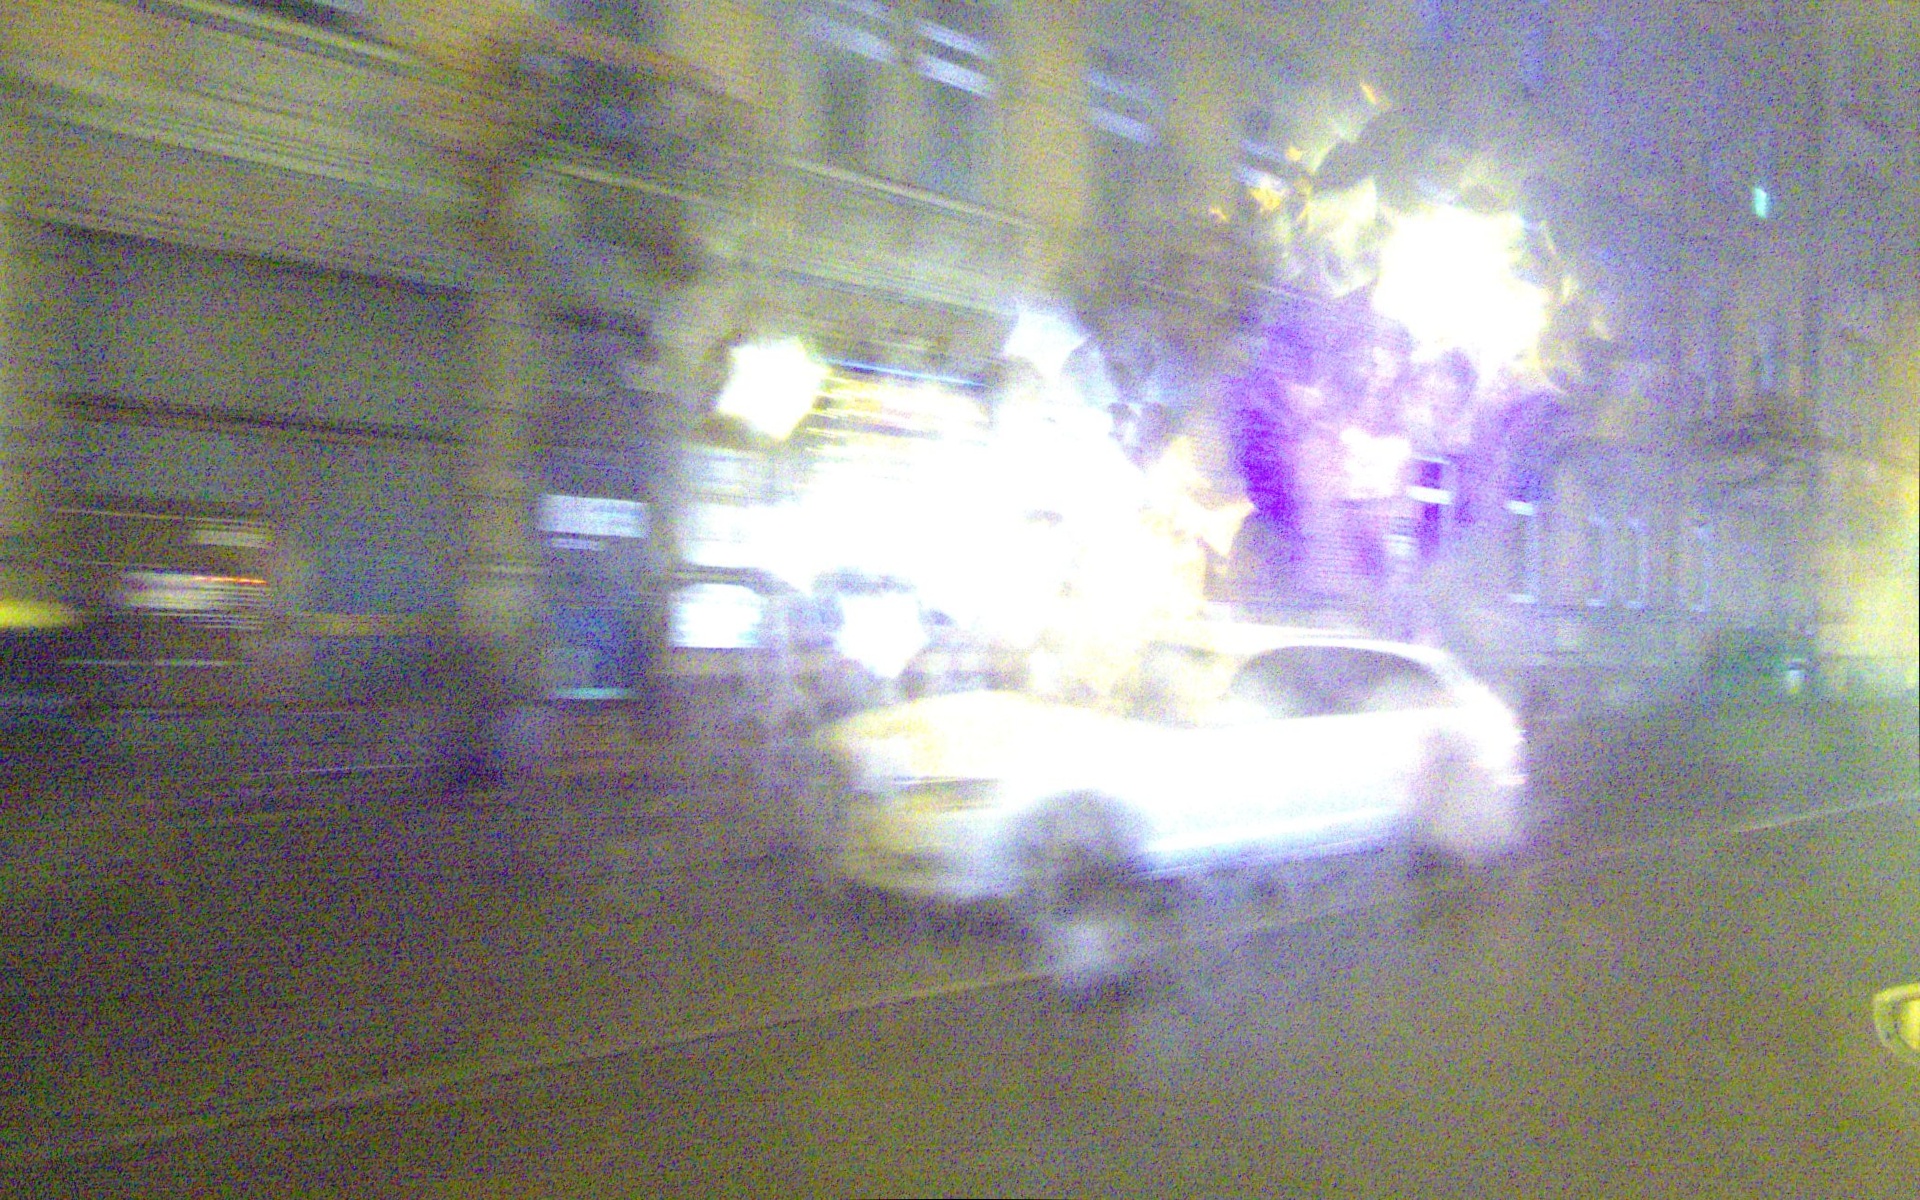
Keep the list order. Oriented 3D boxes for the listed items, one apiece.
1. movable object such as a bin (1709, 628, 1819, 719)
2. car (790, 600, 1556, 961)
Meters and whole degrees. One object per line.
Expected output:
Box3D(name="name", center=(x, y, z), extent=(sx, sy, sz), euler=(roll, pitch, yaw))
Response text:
Box3D(name="movable object such as a bin", center=(13.765, 1.226, 17.209), extent=(1.364, 1.473, 1.095), euler=(2, -2, -32))
Box3D(name="car", center=(1.485, 0.855, 6.342), extent=(4.715, 1.503, 1.759), euler=(2, 2, -30))
